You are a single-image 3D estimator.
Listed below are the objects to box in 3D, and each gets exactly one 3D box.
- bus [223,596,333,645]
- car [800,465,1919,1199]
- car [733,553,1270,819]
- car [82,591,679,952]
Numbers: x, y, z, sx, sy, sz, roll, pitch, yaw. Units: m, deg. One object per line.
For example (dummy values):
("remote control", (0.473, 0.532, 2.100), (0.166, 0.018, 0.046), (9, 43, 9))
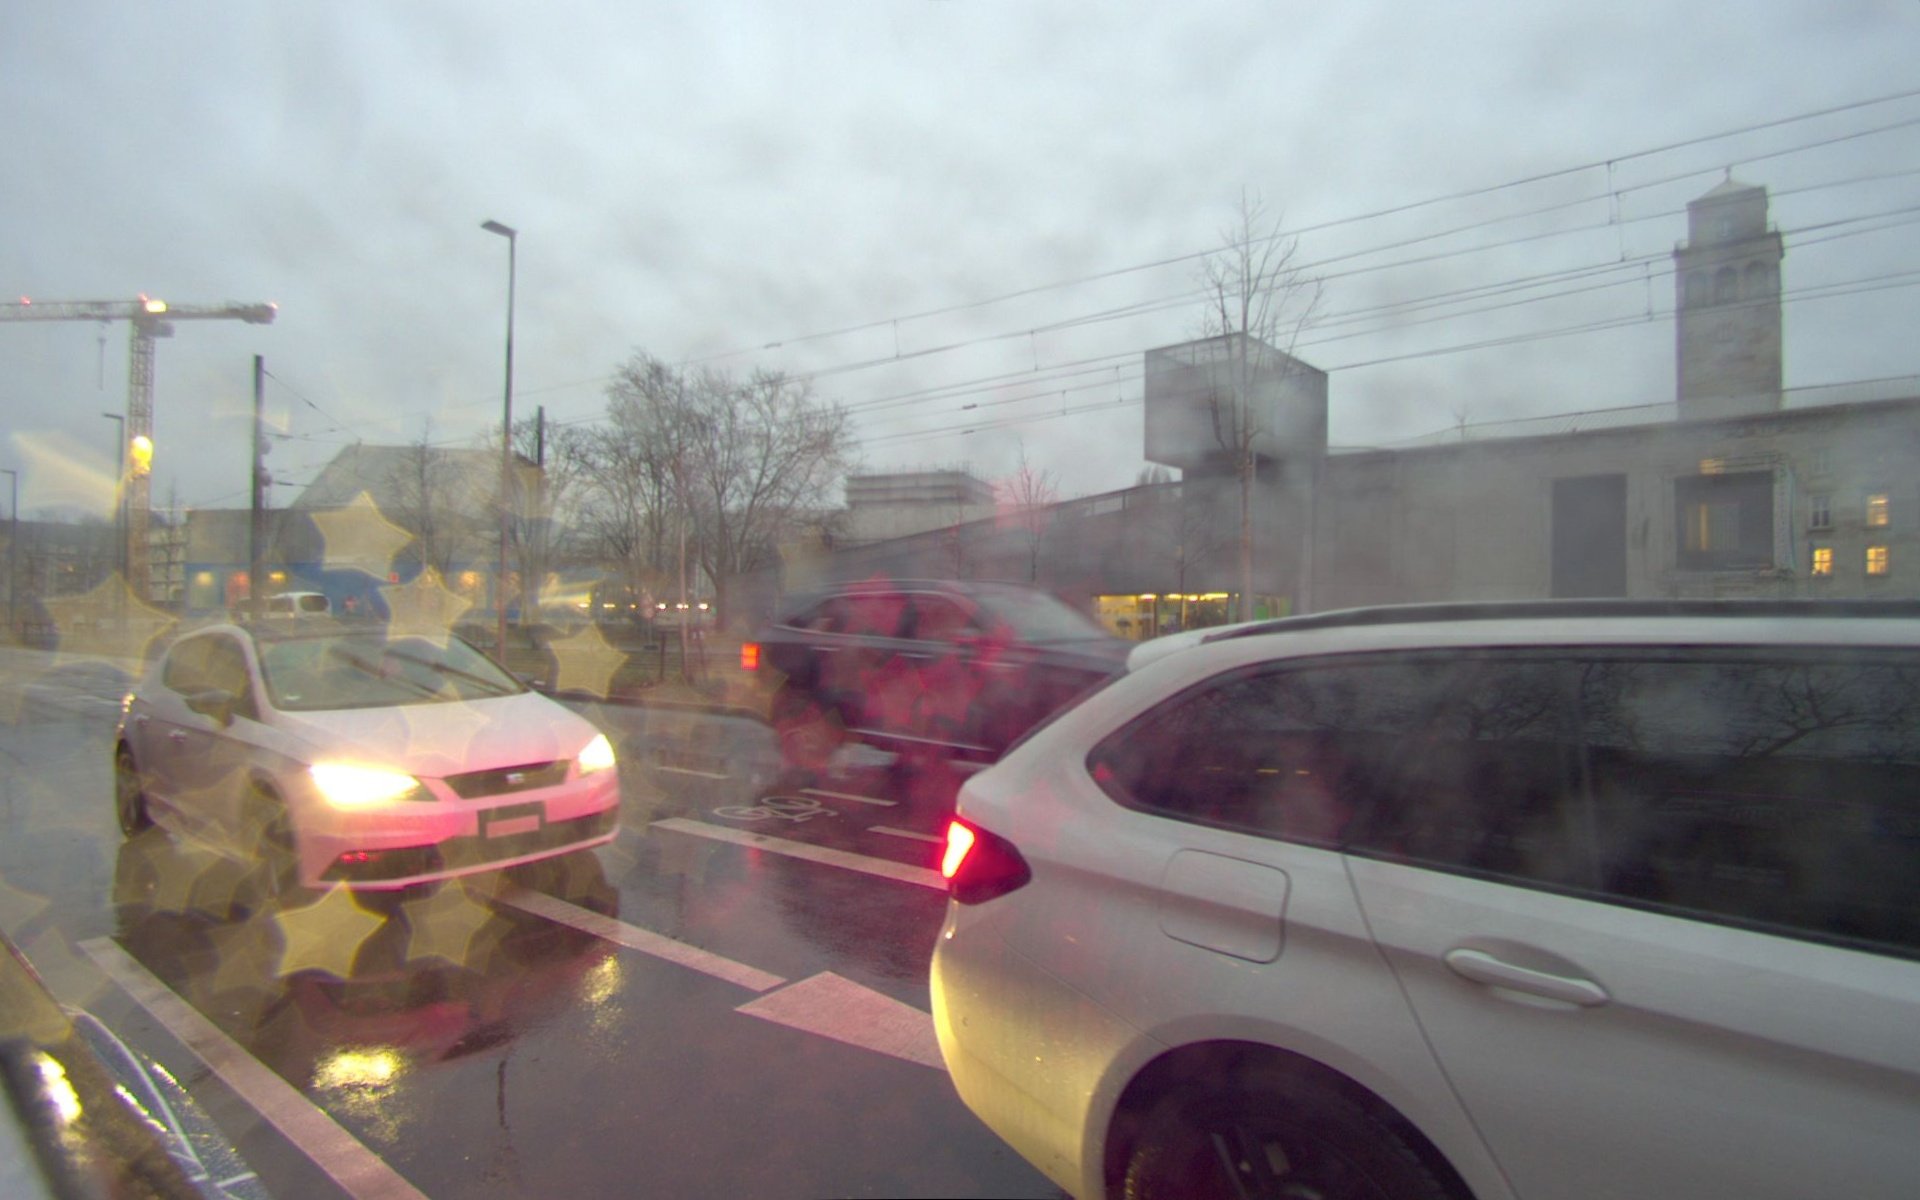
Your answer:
("bus", (-53.208, 1.620, 78.765), (12.277, 3.605, 2.783), (-1, -2, 35))
("car", (2.092, 0.619, 1.622), (4.919, 1.532, 1.890), (-1, -2, 40))
("car", (0.150, 0.614, 8.824), (4.607, 1.756, 1.686), (-1, -2, 39))
("car", (-3.700, 0.731, 6.152), (4.124, 1.486, 1.757), (-1, -1, 38))
